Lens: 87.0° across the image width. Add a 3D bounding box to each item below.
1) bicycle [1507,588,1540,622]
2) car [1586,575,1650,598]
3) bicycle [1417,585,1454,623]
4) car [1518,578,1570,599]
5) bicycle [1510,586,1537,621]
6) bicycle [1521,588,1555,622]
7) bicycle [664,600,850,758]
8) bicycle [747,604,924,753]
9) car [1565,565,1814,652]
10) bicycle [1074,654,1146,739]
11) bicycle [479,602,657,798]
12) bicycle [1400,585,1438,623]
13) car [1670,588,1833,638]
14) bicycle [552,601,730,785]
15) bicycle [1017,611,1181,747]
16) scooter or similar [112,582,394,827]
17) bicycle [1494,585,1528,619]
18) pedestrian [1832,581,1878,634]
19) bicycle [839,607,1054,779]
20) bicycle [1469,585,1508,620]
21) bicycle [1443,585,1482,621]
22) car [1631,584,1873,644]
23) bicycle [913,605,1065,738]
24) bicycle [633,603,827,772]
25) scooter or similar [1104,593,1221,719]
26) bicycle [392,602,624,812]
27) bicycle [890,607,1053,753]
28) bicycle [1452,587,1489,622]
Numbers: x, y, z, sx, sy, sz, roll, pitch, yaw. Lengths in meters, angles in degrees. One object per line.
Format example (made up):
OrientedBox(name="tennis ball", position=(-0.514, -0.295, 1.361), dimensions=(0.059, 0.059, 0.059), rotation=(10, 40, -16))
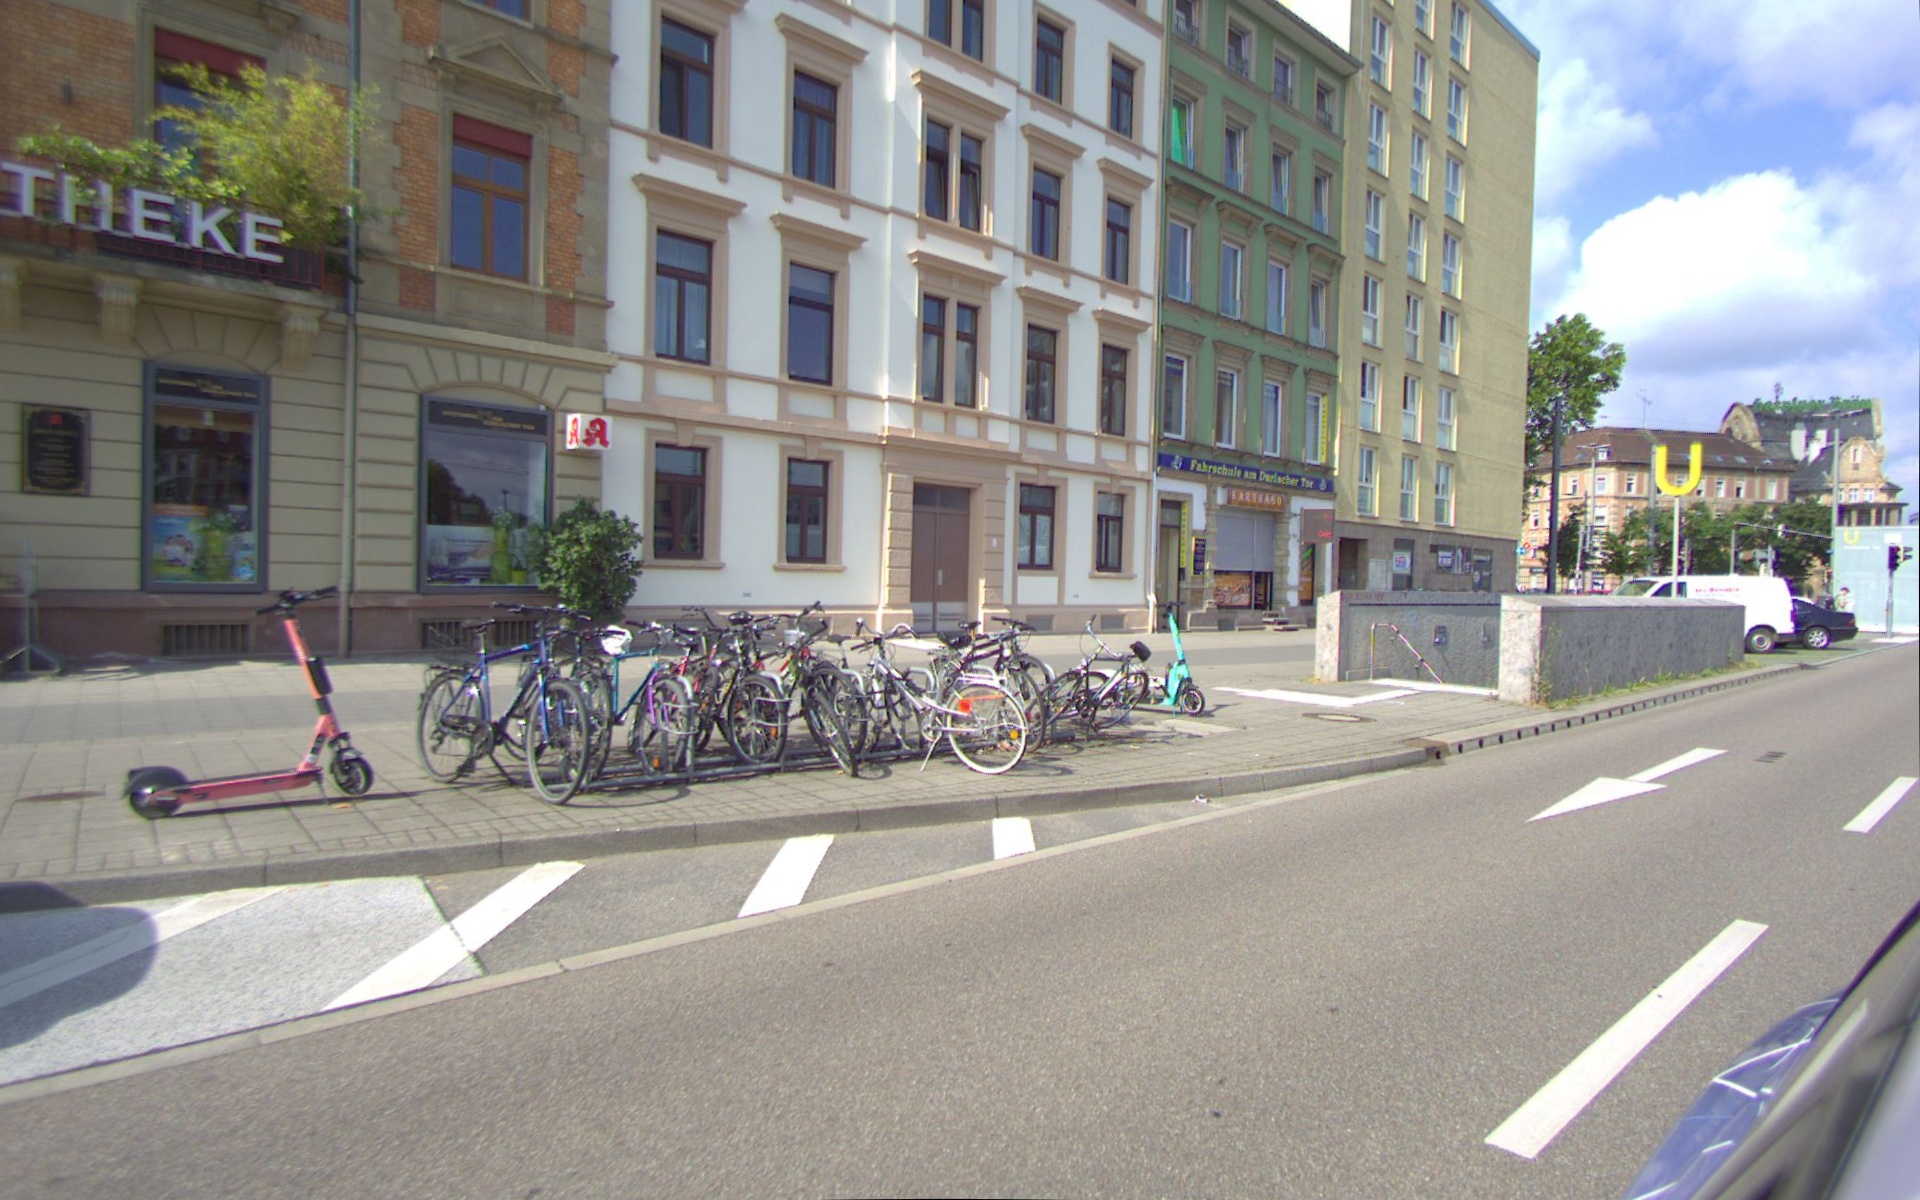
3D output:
OrientedBox(name="bicycle", position=(22.370, 0.199, 40.173), dimensions=(1.614, 1.288, 0.488), rotation=(0, 2, -37))
OrientedBox(name="car", position=(51.530, -1.077, 79.328), dimensions=(1.959, 1.537, 4.007), rotation=(-3, 3, -8))
OrientedBox(name="bicycle", position=(15.741, 0.135, 33.483), dimensions=(1.617, 1.216, 0.487), rotation=(0, 2, -41))
OrientedBox(name="car", position=(50.454, -1.009, 87.471), dimensions=(1.960, 1.570, 4.007), rotation=(-2, 4, -4))
OrientedBox(name="bicycle", position=(21.453, 0.108, 38.528), dimensions=(0.486, 1.288, 1.862), rotation=(3, 2, 41))
OrientedBox(name="bicycle", position=(22.711, 0.201, 39.755), dimensions=(1.614, 1.288, 0.531), rotation=(0, 2, -37))
OrientedBox(name="bicycle", position=(-1.646, 0.576, 8.020), dimensions=(1.754, 1.099, 0.367), rotation=(2, 0, 38))
OrientedBox(name="bicycle", position=(-1.087, 0.611, 8.543), dimensions=(1.756, 1.099, 0.367), rotation=(2, 0, 41))
OrientedBox(name="car", position=(18.744, 0.205, 26.204), dimensions=(4.811, 2.111, 2.077), rotation=(1, 0, 4))
OrientedBox(name="bicycle", position=(1.498, 0.923, 10.066), dimensions=(0.628, 0.593, 1.767), rotation=(2, 2, 9))
OrientedBox(name="bicycle", position=(-2.626, 0.589, 6.671), dimensions=(1.759, 1.099, 0.366), rotation=(2, 0, 44))
OrientedBox(name="bicycle", position=(15.365, 0.136, 33.865), dimensions=(1.617, 1.216, 0.487), rotation=(0, 2, -41))
OrientedBox(name="car", position=(23.932, 0.368, 30.707), dimensions=(3.454, 1.458, 1.715), rotation=(0, 1, 9))
OrientedBox(name="bicycle", position=(-2.263, 0.585, 7.048), dimensions=(1.759, 1.099, 0.366), rotation=(2, 0, 44))
OrientedBox(name="bicycle", position=(1.262, 0.661, 8.926), dimensions=(1.733, 1.085, 0.372), rotation=(2, 0, -41))
OrientedBox(name="scooter or similar", position=(-3.836, 0.524, 5.575), dimensions=(1.227, 1.229, 0.370), rotation=(0, -1, -32))
OrientedBox(name="bicycle", position=(21.333, 0.085, 39.156), dimensions=(1.614, 1.288, 0.488), rotation=(0, 2, -37))
OrientedBox(name="pedestrian", position=(30.826, 0.258, 34.860), dimensions=(0.985, 1.781, 0.780), rotation=(-1, 3, 25))
OrientedBox(name="bicycle", position=(-0.124, 0.630, 7.368), dimensions=(1.589, 1.099, 0.368), rotation=(2, 0, 31))
OrientedBox(name="bicycle", position=(18.941, 0.082, 36.276), dimensions=(1.614, 1.216, 0.549), rotation=(0, 2, -37))
OrientedBox(name="bicycle", position=(17.449, 0.101, 35.133), dimensions=(1.614, 1.216, 0.488), rotation=(0, 2, -37))
OrientedBox(name="car", position=(21.999, 0.357, 28.296), dimensions=(4.979, 1.487, 1.887), rotation=(1, 2, 8))
OrientedBox(name="bicycle", position=(0.230, 0.626, 9.516), dimensions=(0.365, 1.099, 1.763), rotation=(2, 0, -38))
OrientedBox(name="bicycle", position=(-1.762, 0.603, 7.577), dimensions=(1.754, 1.099, 0.367), rotation=(2, 0, 38))
OrientedBox(name="scooter or similar", position=(2.194, 0.585, 11.039), dimensions=(1.159, 1.253, 0.377), rotation=(4, 2, 38))
OrientedBox(name="bicycle", position=(-2.791, 0.589, 6.172), dimensions=(1.751, 1.099, 0.368), rotation=(2, 0, 33))
OrientedBox(name="bicycle", position=(0.053, 0.636, 8.751), dimensions=(0.365, 1.099, 1.763), rotation=(2, 0, -38))
OrientedBox(name="bicycle", position=(18.582, 0.154, 36.840), dimensions=(1.614, 1.216, 0.488), rotation=(0, 2, -37))
